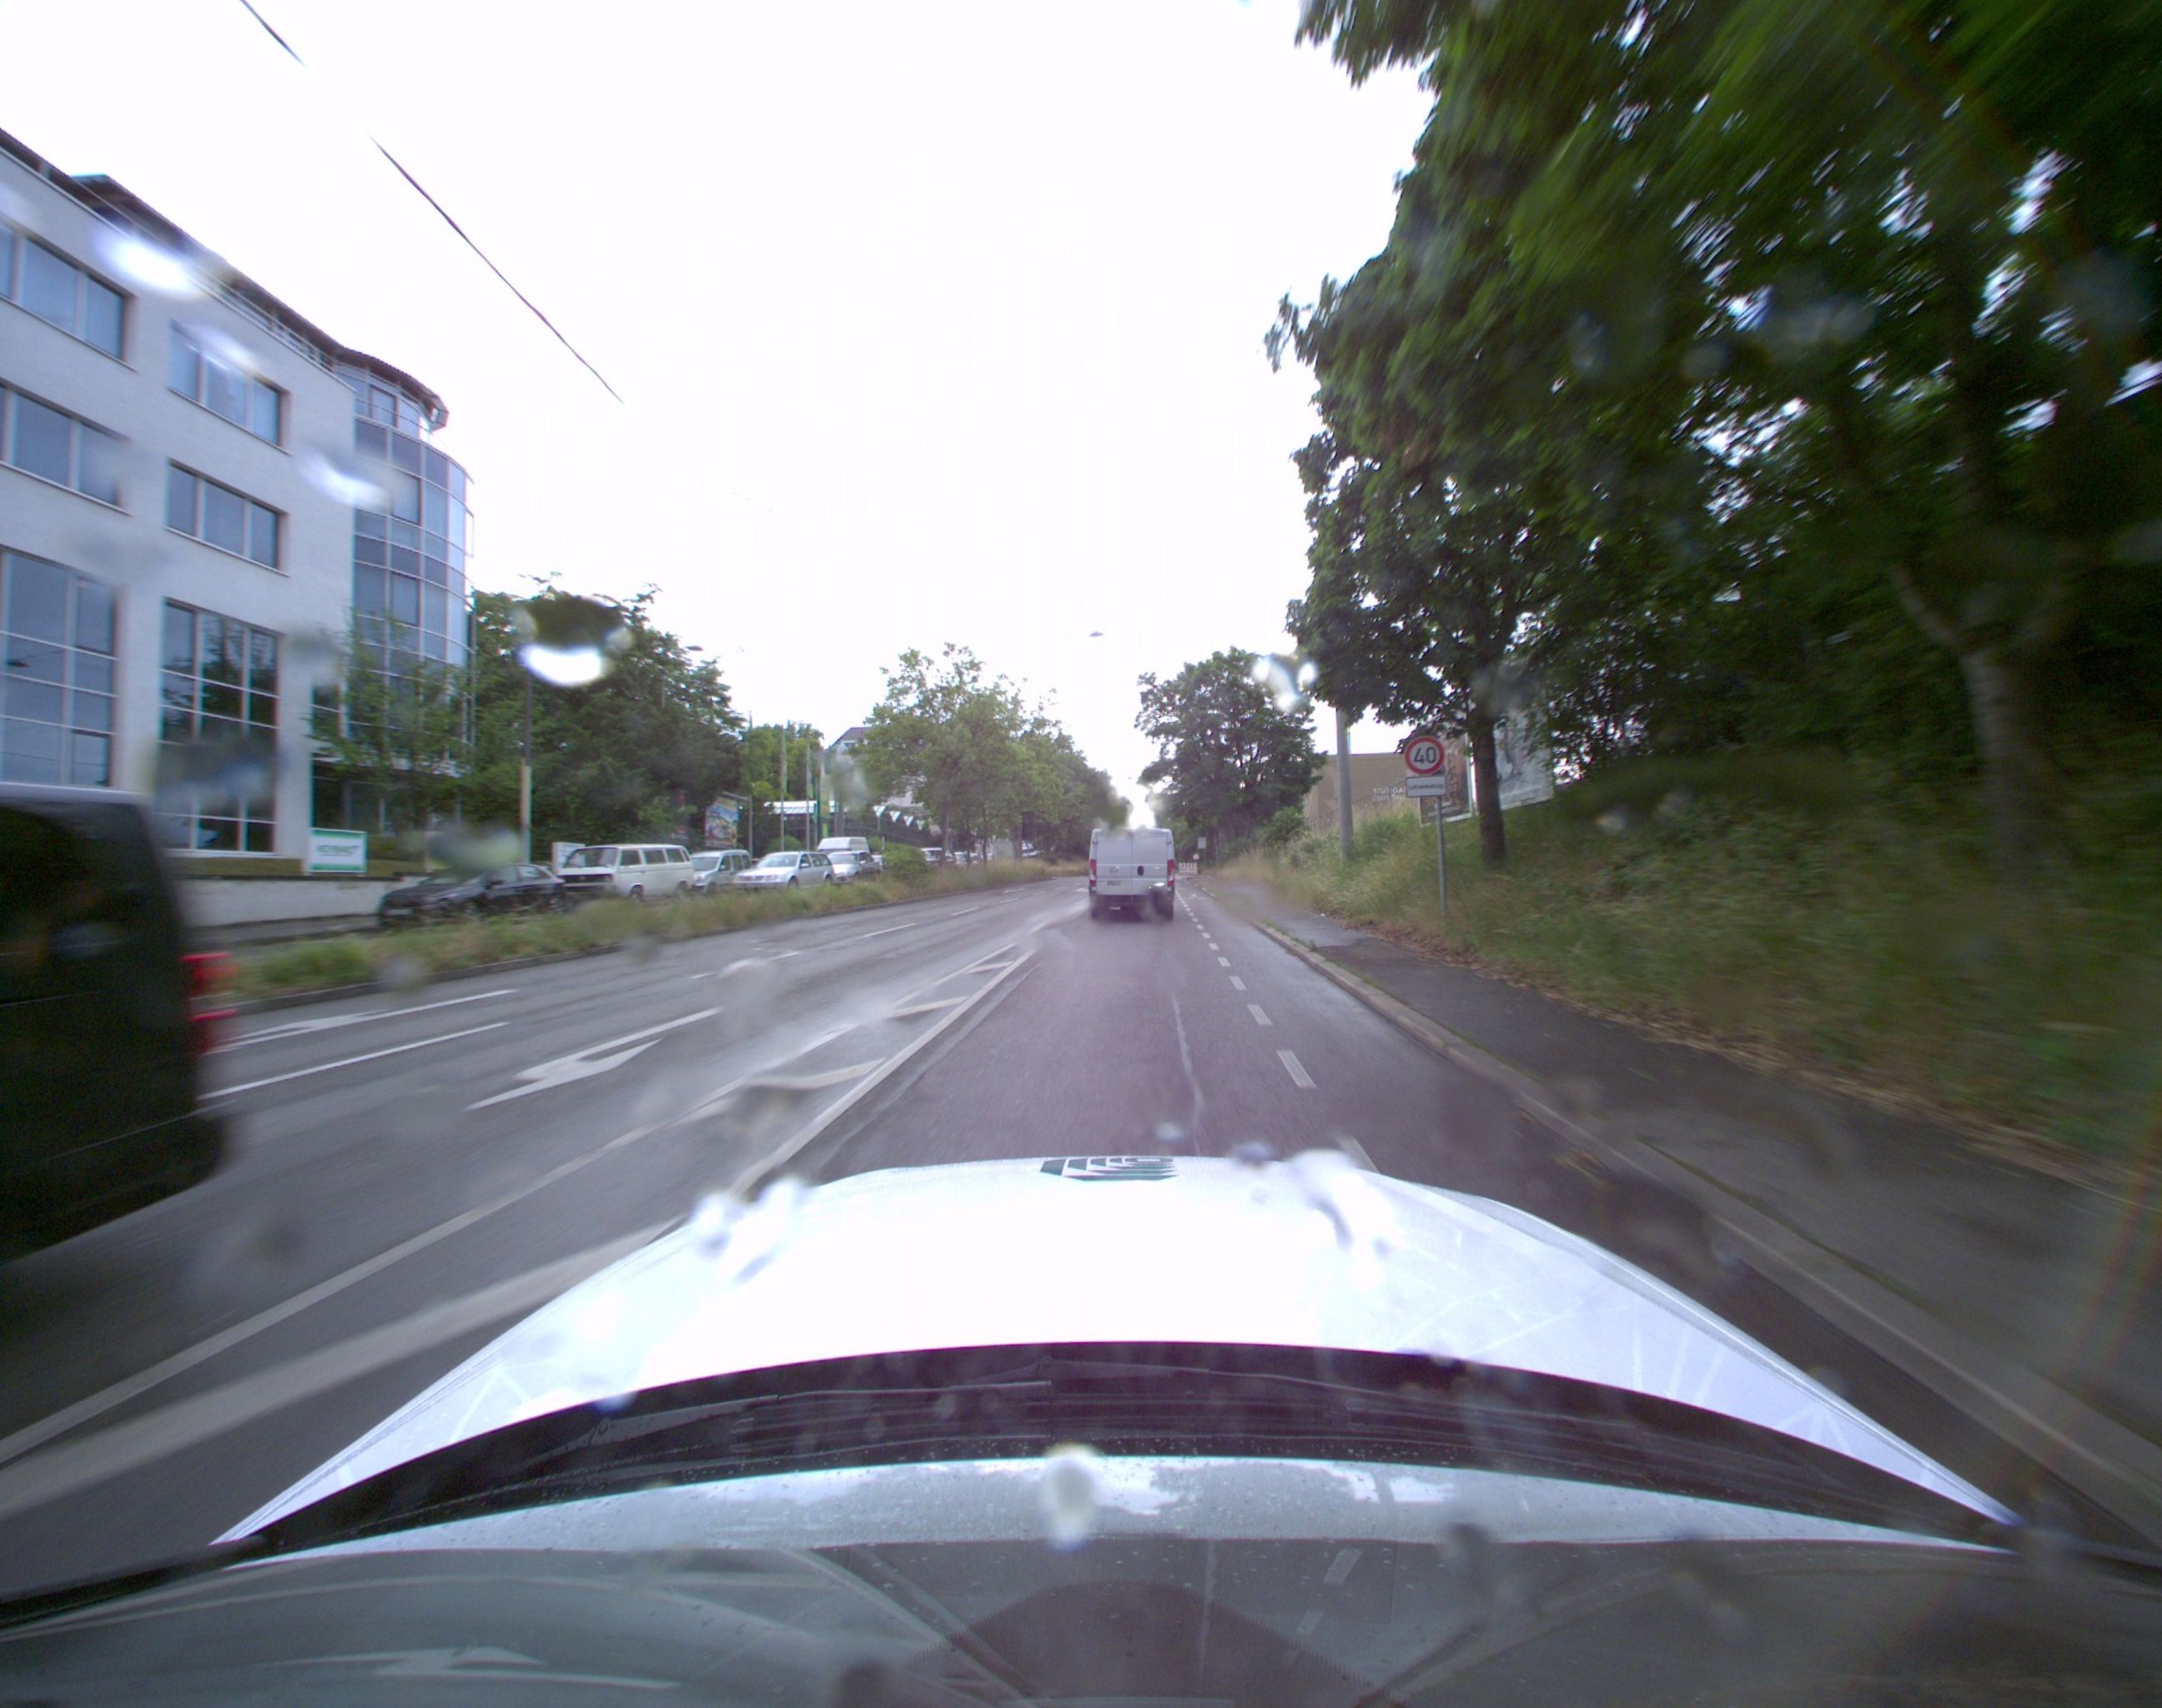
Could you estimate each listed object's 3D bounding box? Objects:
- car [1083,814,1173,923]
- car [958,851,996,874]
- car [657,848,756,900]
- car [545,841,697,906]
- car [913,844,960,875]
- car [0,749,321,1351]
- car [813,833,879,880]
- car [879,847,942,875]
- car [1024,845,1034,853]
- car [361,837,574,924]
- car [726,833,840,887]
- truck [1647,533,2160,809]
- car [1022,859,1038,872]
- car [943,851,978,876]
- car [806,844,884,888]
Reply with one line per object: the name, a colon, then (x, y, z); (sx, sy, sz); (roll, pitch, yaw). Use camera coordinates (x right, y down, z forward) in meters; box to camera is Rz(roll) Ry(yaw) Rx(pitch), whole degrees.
car: (1.200, 0.291, 21.425); (2.042, 2.516, 4.947); (1, 1, 2)
car: (-6.863, 0.600, 53.983); (1.530, 1.293, 4.550); (-2, -3, 5)
car: (-13.369, 0.668, 29.310); (1.585, 1.695, 3.784); (-2, 0, 3)
car: (-13.810, 0.521, 24.835); (1.763, 1.746, 4.588); (-2, 0, 3)
car: (-7.718, 0.327, 43.922); (1.646, 1.452, 3.648); (-2, -3, 4)
car: (-4.518, 0.627, 1.054); (2.005, 1.867, 5.049); (-2, 0, 6)
car: (-13.307, 0.086, 46.478); (1.956, 2.443, 5.656); (-2, 0, 1)
car: (-7.978, 0.324, 38.495); (1.689, 1.205, 4.225); (-2, 0, 5)
car: (-9.409, -0.915, 146.800); (1.593, 1.250, 2.911); (-2, -3, 1)
car: (-13.653, 0.517, 18.464); (1.604, 1.721, 3.997); (-2, 0, 3)
car: (-9.268, 0.150, 25.757); (1.639, 1.478, 4.449); (-2, 0, 4)
truck: (11.969, -2.390, 12.799); (2.274, 2.650, 6.059); (4, -2, 5)
car: (-5.117, 1.159, 82.470); (1.345, 1.131, 2.753); (-2, -3, 2)
car: (-7.230, 0.604, 49.160); (1.354, 1.395, 3.710); (-2, -3, 4)
car: (-9.056, 0.404, 31.538); (1.585, 1.540, 3.995); (-2, 0, 3)
